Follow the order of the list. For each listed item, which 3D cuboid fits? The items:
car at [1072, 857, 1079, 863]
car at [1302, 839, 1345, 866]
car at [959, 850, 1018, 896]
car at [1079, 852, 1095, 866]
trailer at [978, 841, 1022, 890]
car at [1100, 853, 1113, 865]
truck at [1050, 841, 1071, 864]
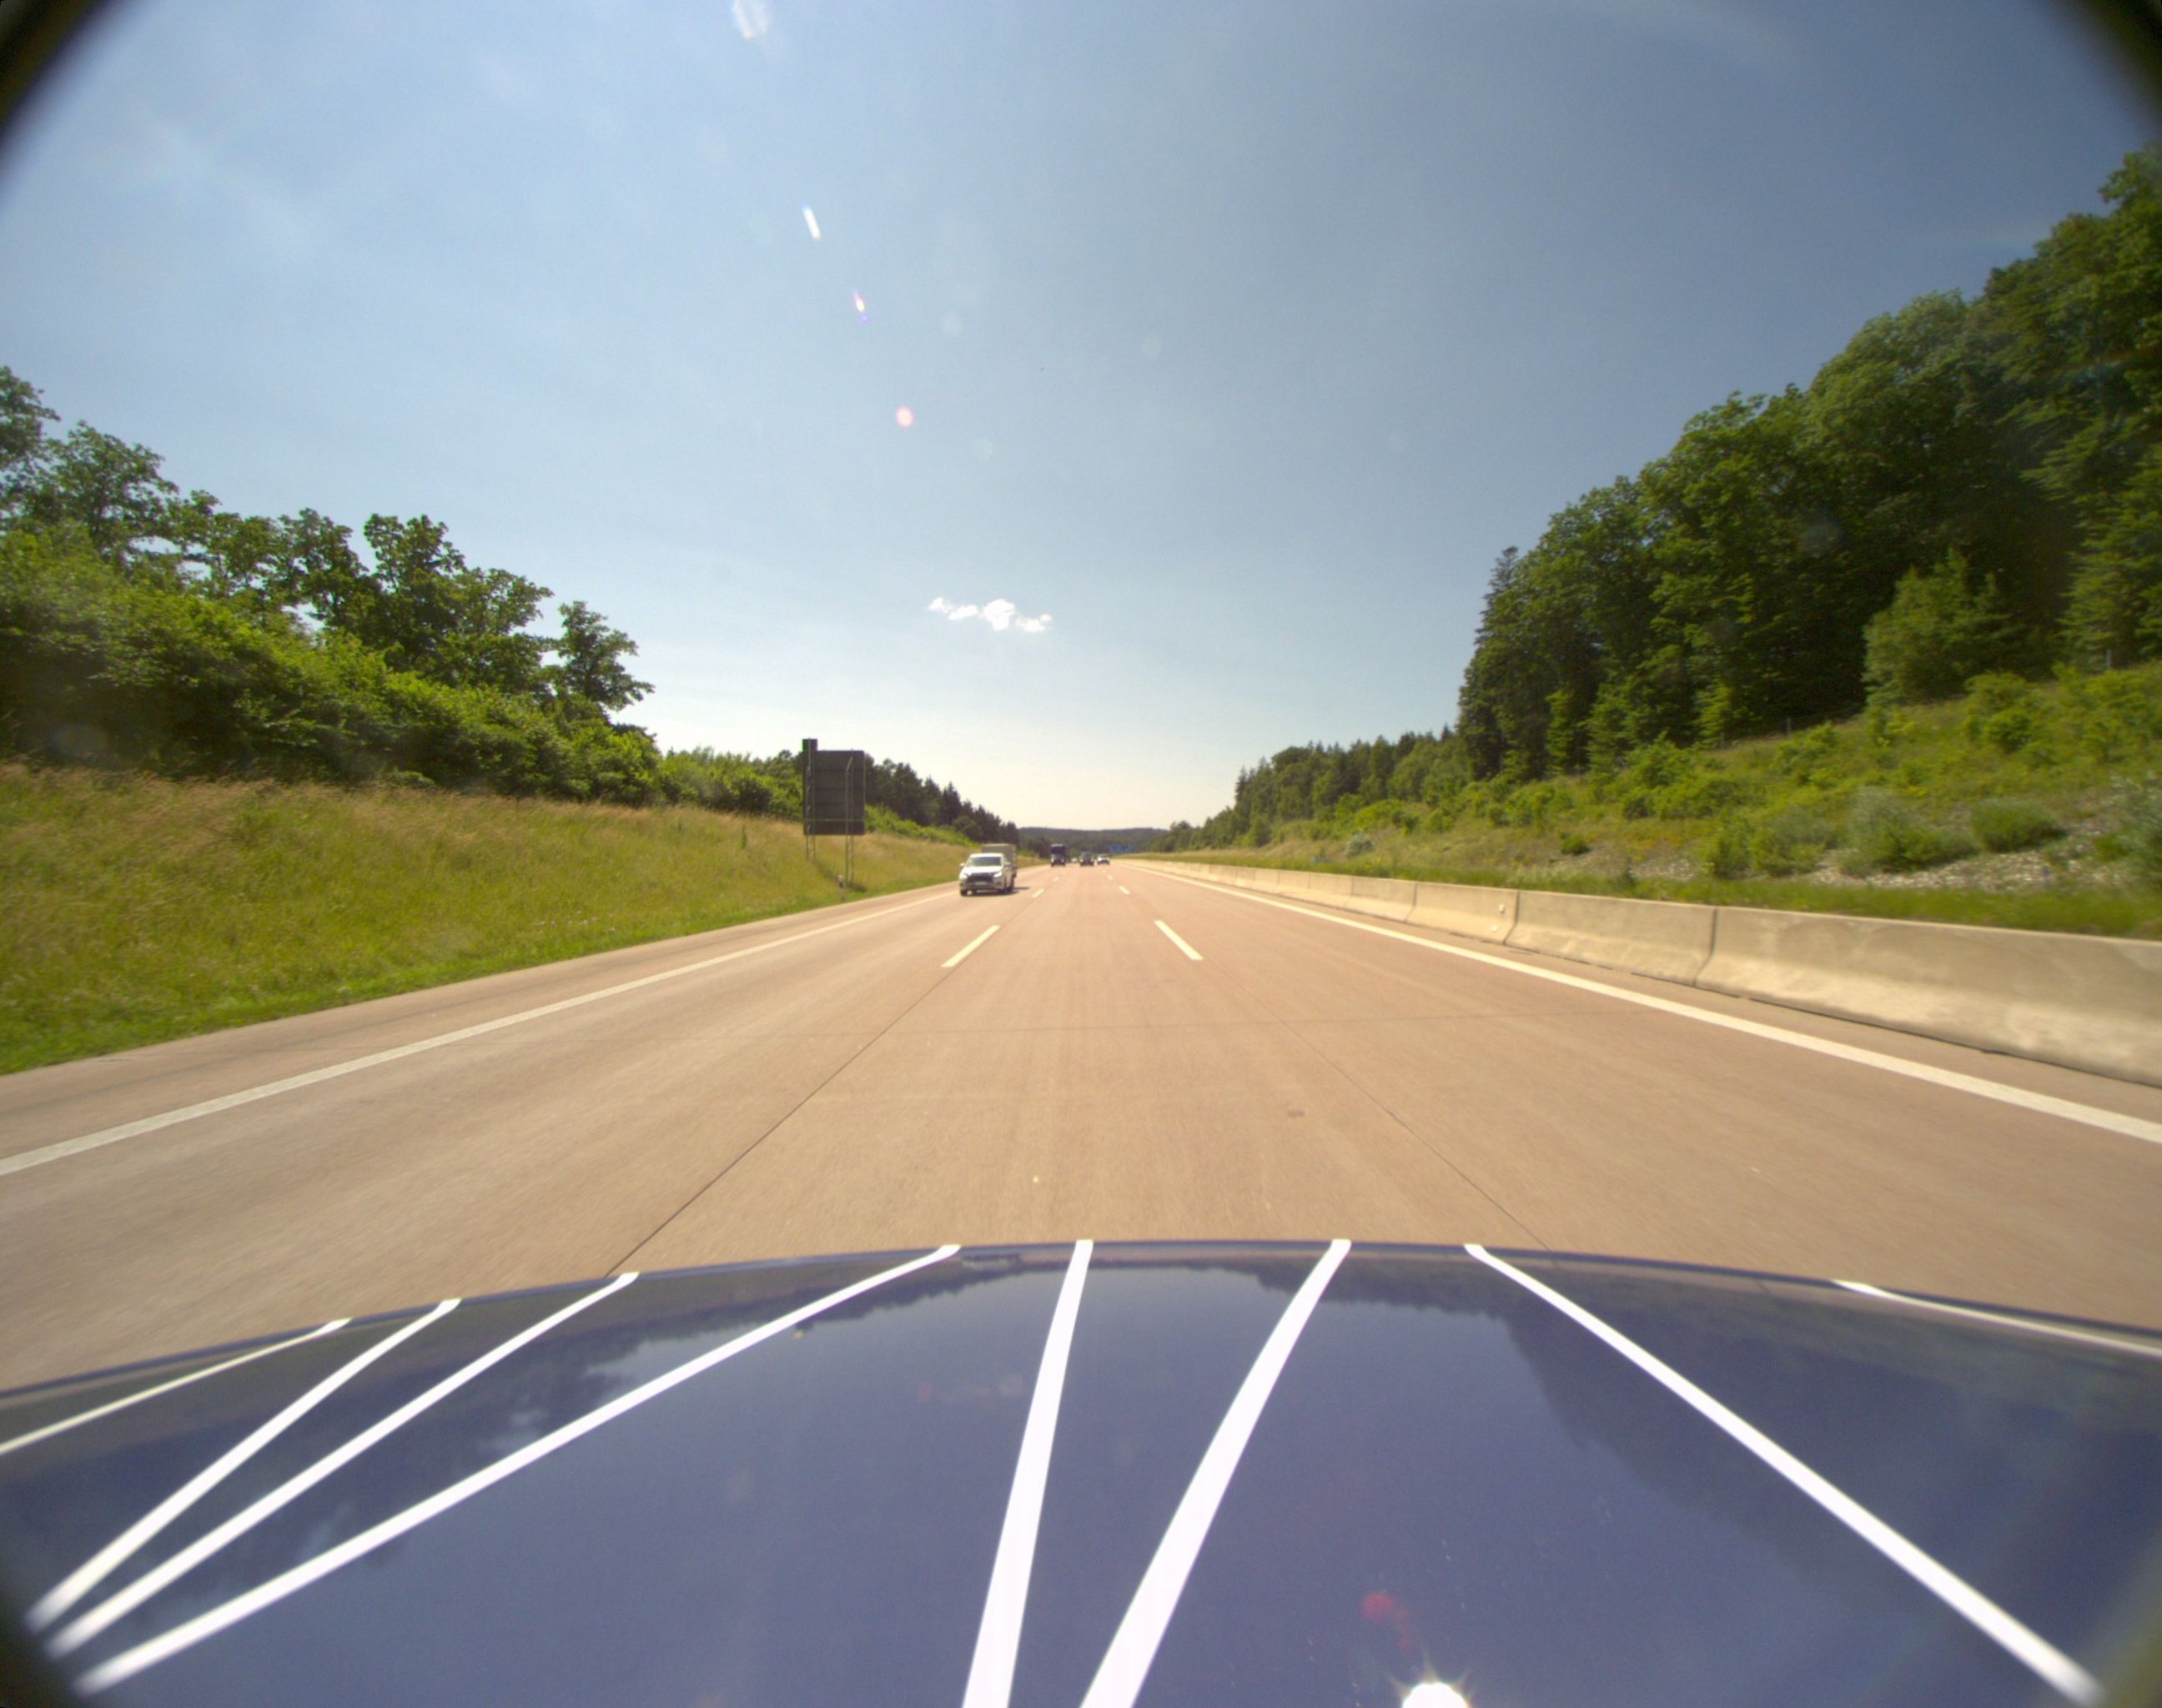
[{"bbox_3d":[-1.708,1.942,248.337,1.998,2.002,4.000,-2,0,0],"label":"car"},{"bbox_3d":[19.957,-0.096,62.678,1.896,2.052,4.663,-2,0,-2],"label":"car"},{"bbox_3d":[-3.793,0.738,32.064,1.896,1.718,5.185,-2,0,-1],"label":"car"},{"bbox_3d":[0.852,0.609,103.944,1.998,1.805,4.564,-2,0,3],"label":"car"},{"bbox_3d":[-3.845,0.527,36.631,1.662,2.151,4.015,-2,0,0],"label":"trailer"},{"bbox_3d":[3.932,0.822,119.035,1.895,1.718,4.564,-2,0,0],"label":"car"},{"bbox_3d":[-2.957,-0.188,112.380,2.508,3.199,7.785,-2,0,2],"label":"truck"}]
